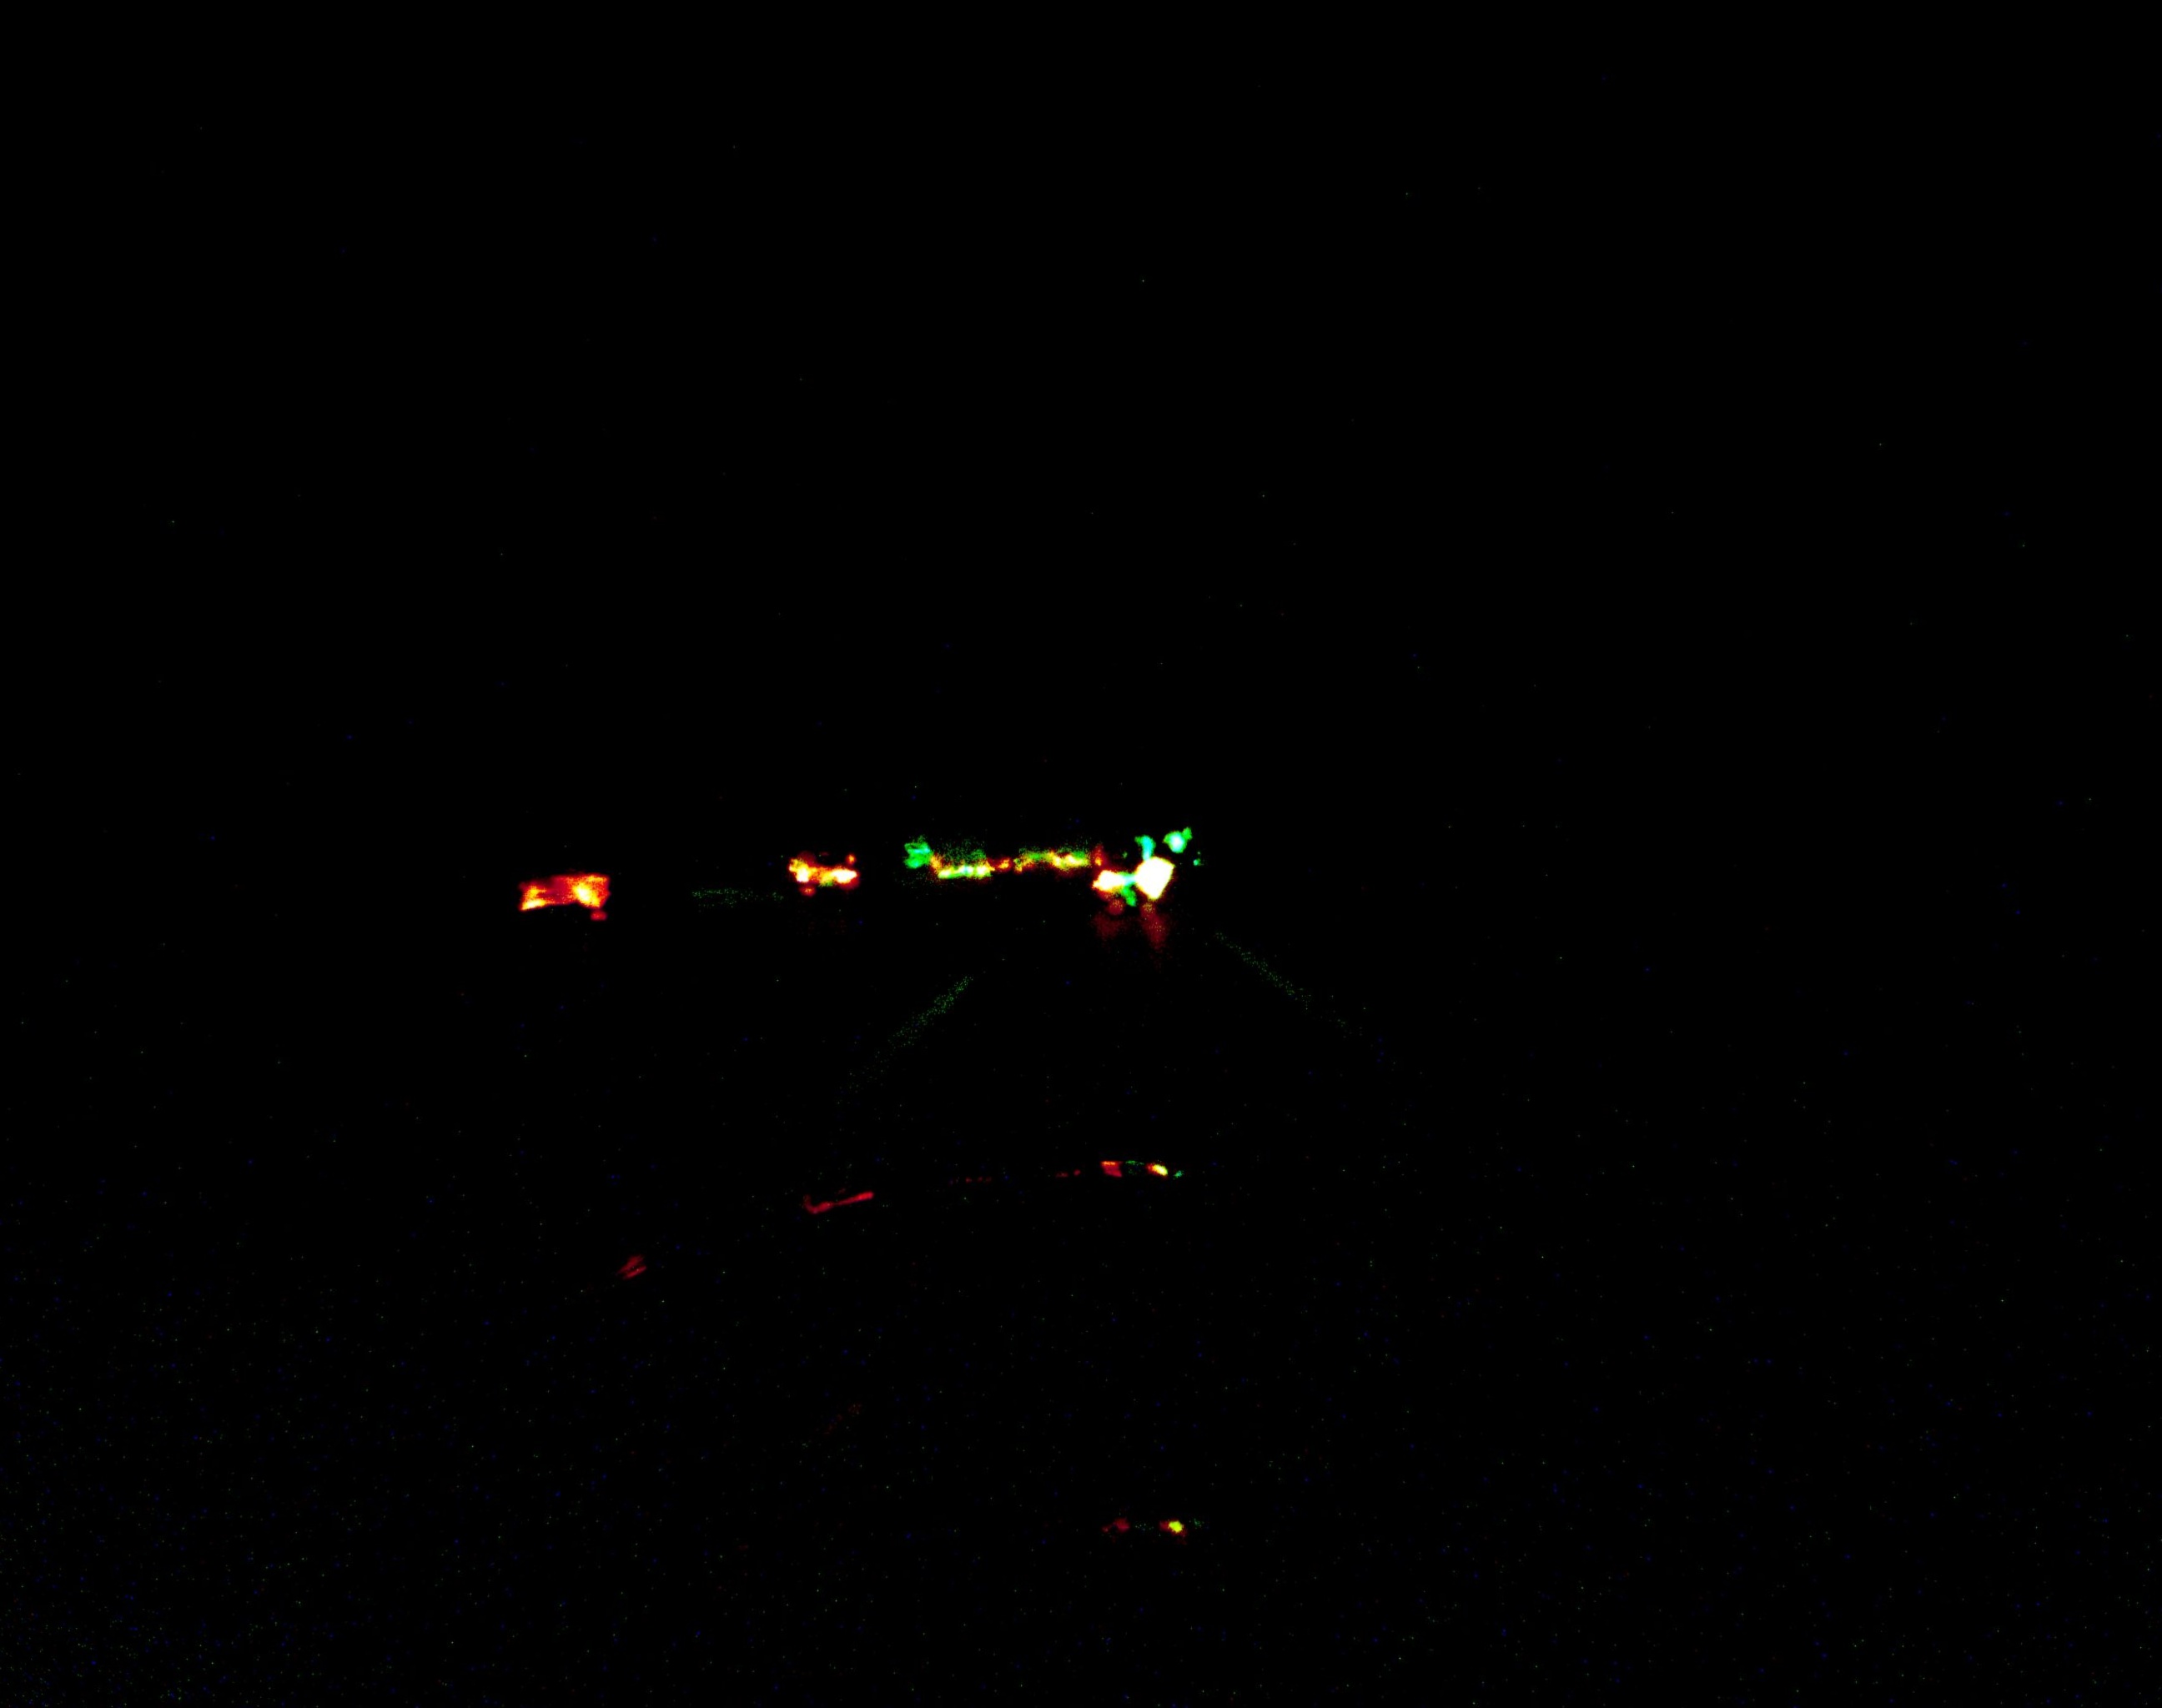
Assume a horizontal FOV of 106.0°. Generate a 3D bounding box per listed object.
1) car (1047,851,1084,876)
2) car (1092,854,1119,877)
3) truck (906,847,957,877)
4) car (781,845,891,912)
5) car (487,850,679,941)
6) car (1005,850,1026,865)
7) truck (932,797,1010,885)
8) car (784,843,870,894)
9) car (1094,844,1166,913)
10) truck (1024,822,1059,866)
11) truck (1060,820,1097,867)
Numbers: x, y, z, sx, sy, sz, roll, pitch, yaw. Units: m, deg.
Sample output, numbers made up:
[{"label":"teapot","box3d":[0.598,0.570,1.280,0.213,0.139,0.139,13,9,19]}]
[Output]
[{"label":"car","box3d":[-1.290,0.795,69.690,2.821,2.013,5.513,0,0,2]},{"label":"car","box3d":[1.877,0.869,62.711,1.986,1.704,4.460,0,0,2]},{"label":"truck","box3d":[-11.304,0.585,61.937,2.849,2.201,5.856,0,0,-1]},{"label":"car","box3d":[-6.928,0.649,23.586,2.034,1.761,4.510,0,0,-3]},{"label":"car","box3d":[-10.496,0.785,17.553,1.761,1.689,3.997,-1,1,-2]},{"label":"car","box3d":[-7.542,0.416,94.119,1.986,1.704,4.460,0,0,2]},{"label":"truck","box3d":[-6.324,-0.684,48.645,3.647,4.737,9.844,0,0,-2]},{"label":"car","box3d":[-11.134,0.585,36.193,2.117,2.104,5.626,-1,0,-1]},{"label":"car","box3d":[1.359,0.643,23.075,1.870,1.762,4.003,0,0,3]},{"label":"truck","box3d":[-5.033,-1.196,106.364,4.242,5.444,10.877,0,0,-2]},{"label":"truck","box3d":[-0.293,-1.173,96.857,4.149,5.215,9.950,0,0,-1]}]
